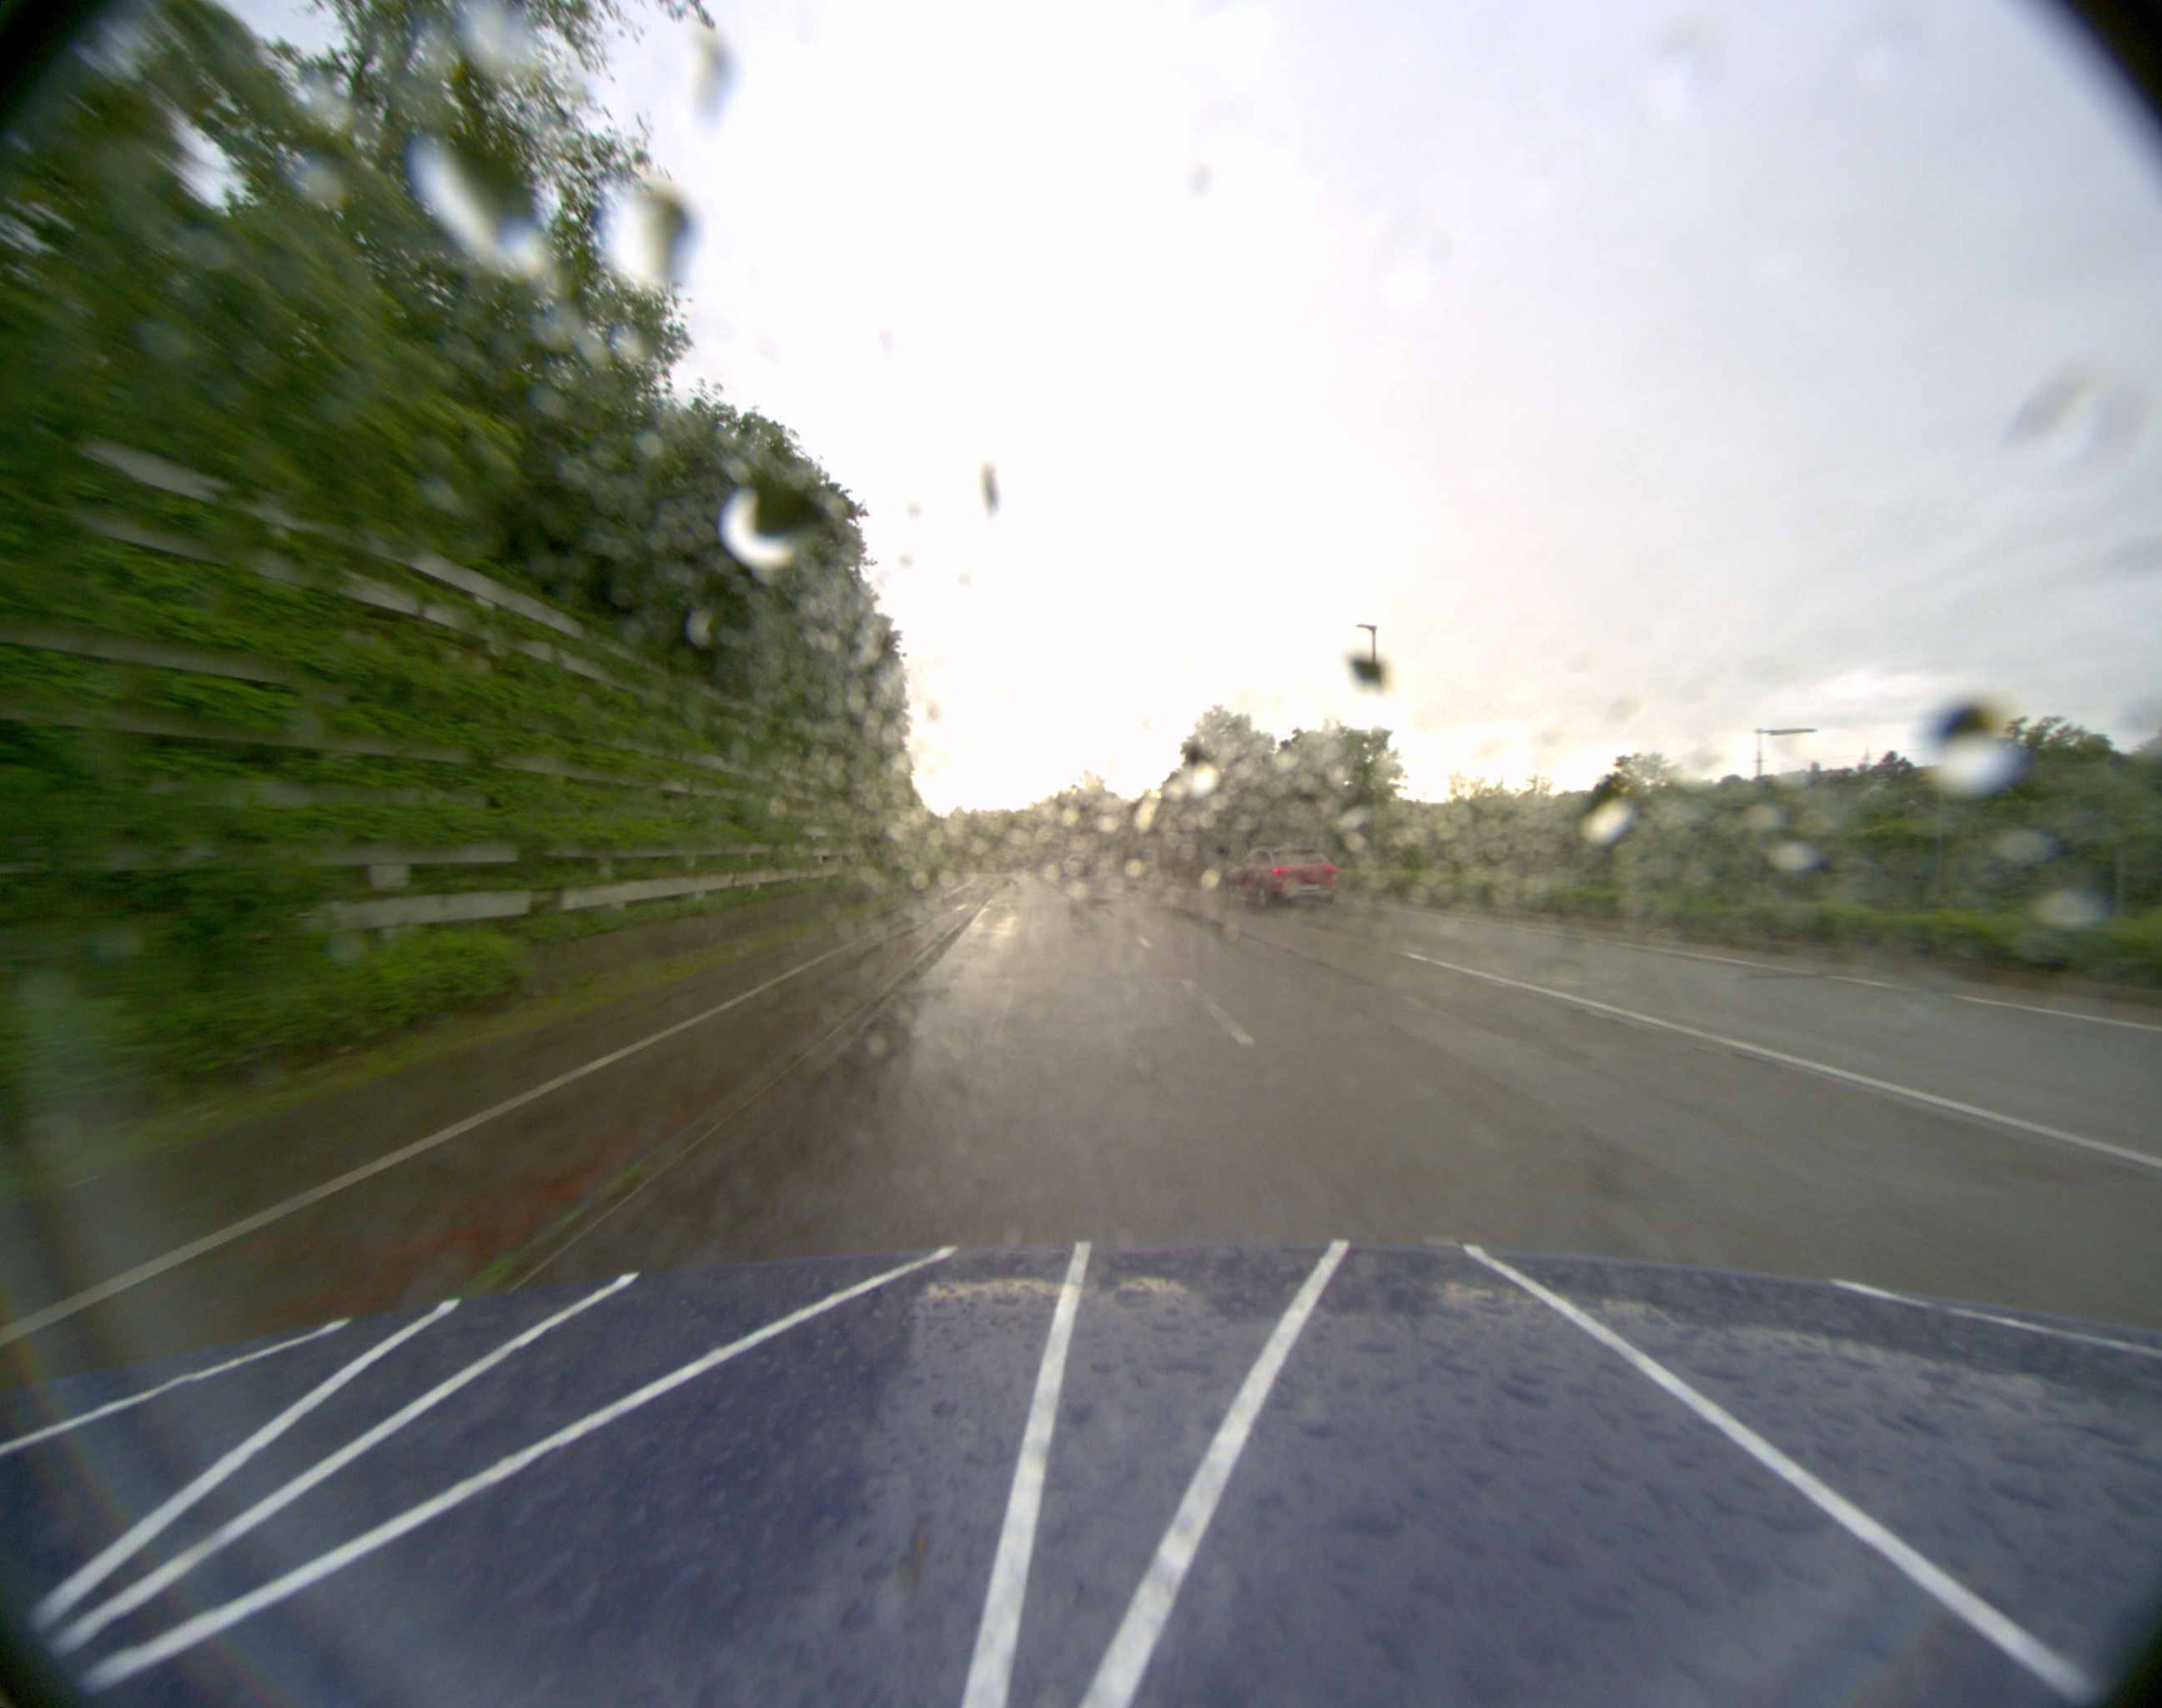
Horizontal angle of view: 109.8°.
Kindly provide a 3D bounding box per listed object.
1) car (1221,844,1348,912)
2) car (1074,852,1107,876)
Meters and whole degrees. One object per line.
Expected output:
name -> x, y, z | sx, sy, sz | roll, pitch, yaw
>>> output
car -> 5.096, 0.580, 19.645 | 1.760, 1.526, 3.998 | -1, -1, -7
car -> 0.586, 0.635, 50.536 | 1.728, 1.454, 4.541 | -3, 1, -5
